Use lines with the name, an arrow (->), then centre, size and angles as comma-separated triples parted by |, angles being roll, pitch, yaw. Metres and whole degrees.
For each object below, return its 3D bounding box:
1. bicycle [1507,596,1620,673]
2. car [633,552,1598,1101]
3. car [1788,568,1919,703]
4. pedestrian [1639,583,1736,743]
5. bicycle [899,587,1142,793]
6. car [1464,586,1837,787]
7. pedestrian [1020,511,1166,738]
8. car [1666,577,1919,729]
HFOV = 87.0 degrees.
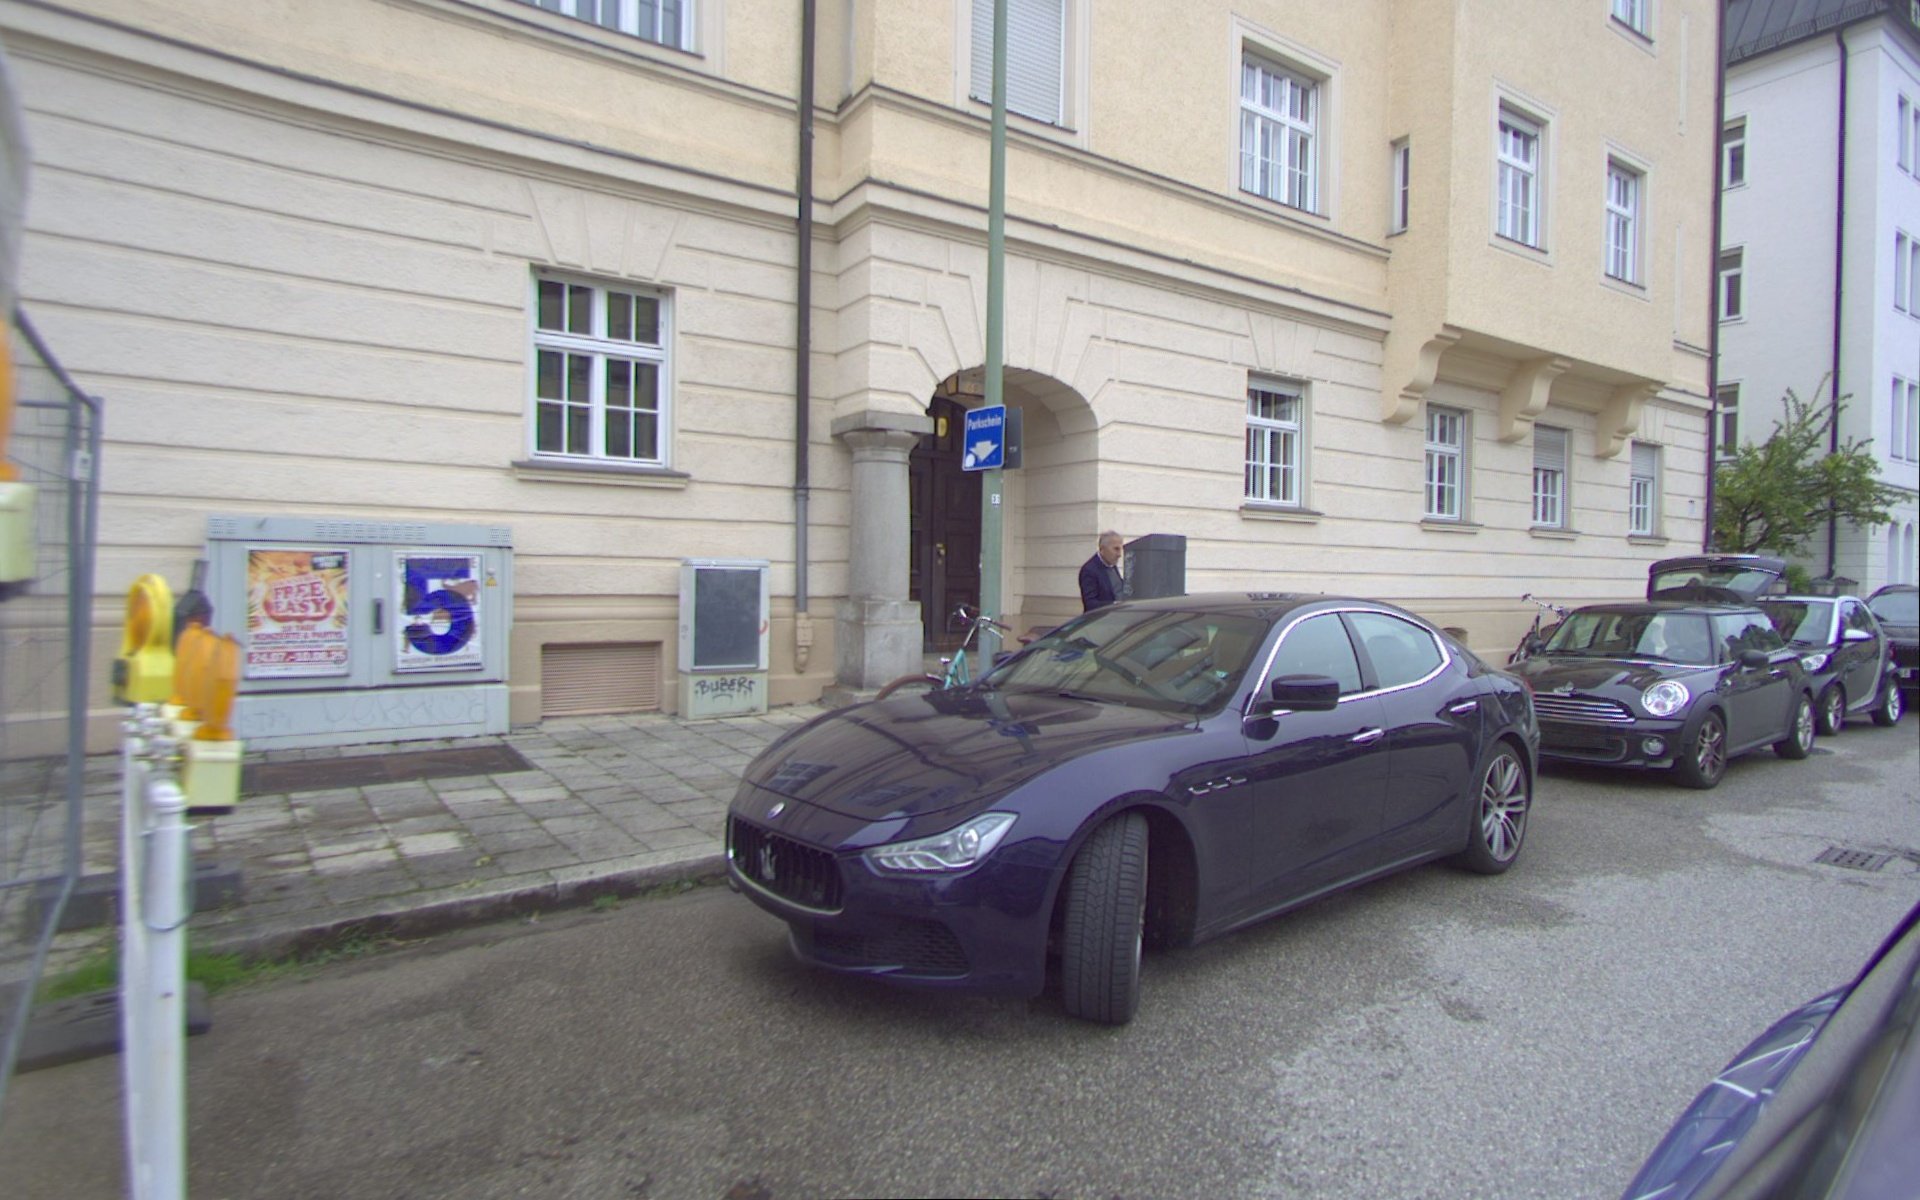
bicycle -> 9.086, 0.494, 15.207 | 2.096, 1.061, 0.504 | 0, 4, -32
car -> 1.113, 0.609, 5.010 | 4.855, 1.496, 1.913 | 0, 0, -38
car -> 14.387, 0.465, 14.785 | 4.926, 1.761, 2.178 | 0, 0, -33
pedestrian -> 7.332, 0.606, 10.203 | 0.567, 1.548, 0.630 | 0, 0, -34
bicycle -> 0.442, 0.553, 7.028 | 1.639, 1.274, 0.639 | 0, 1, -35
car -> 6.189, 0.612, 8.960 | 3.610, 1.435, 1.636 | 0, 0, -36
pedestrian -> 1.059, 0.165, 8.119 | 0.901, 1.710, 0.620 | 0, 4, -33
car -> 9.871, 0.542, 11.934 | 2.959, 1.574, 1.520 | 0, 0, -32
